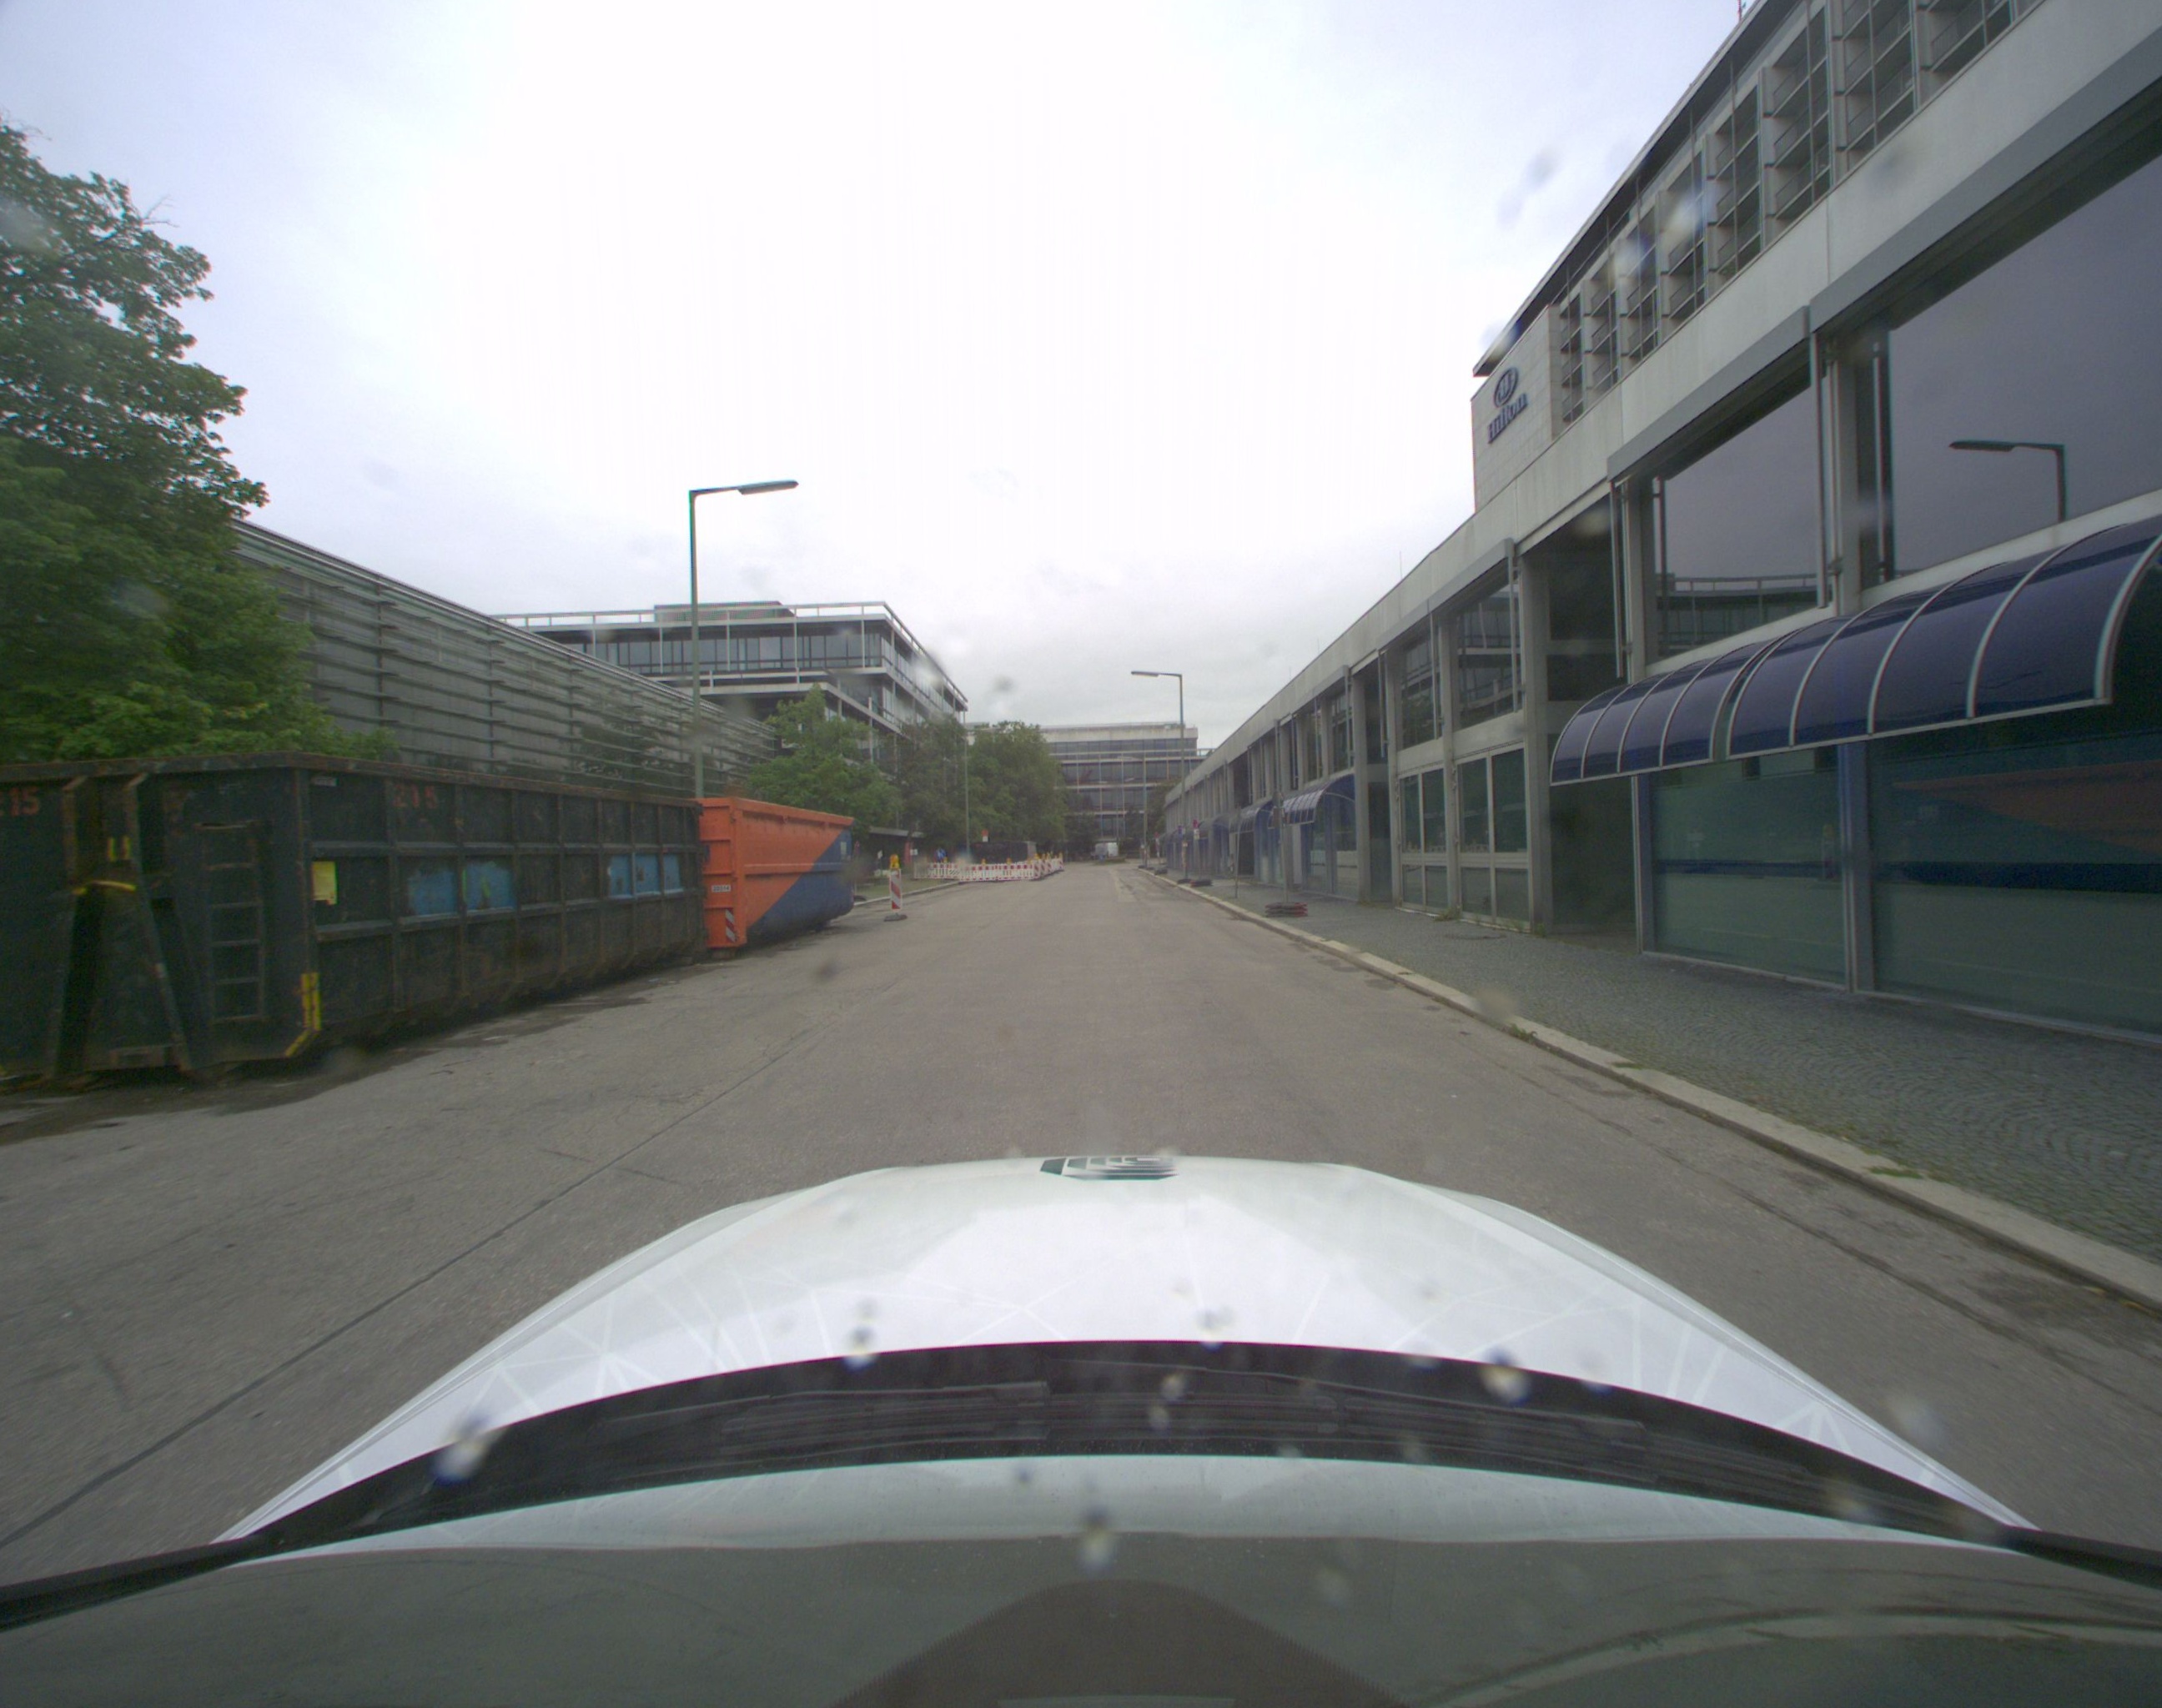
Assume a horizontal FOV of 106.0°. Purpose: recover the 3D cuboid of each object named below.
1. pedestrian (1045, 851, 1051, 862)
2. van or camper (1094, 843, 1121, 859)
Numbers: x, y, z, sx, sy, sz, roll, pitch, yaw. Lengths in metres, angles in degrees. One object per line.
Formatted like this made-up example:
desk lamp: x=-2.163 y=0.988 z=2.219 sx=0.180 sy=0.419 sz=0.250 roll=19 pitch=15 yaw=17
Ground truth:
pedestrian: x=-5.145 y=0.404 z=125.564 sx=0.743 sy=1.677 sz=0.678 roll=-2 pitch=0 yaw=-18
van or camper: x=4.090 y=-0.446 z=126.772 sx=2.095 sy=2.492 sz=5.026 roll=-2 pitch=0 yaw=-24
